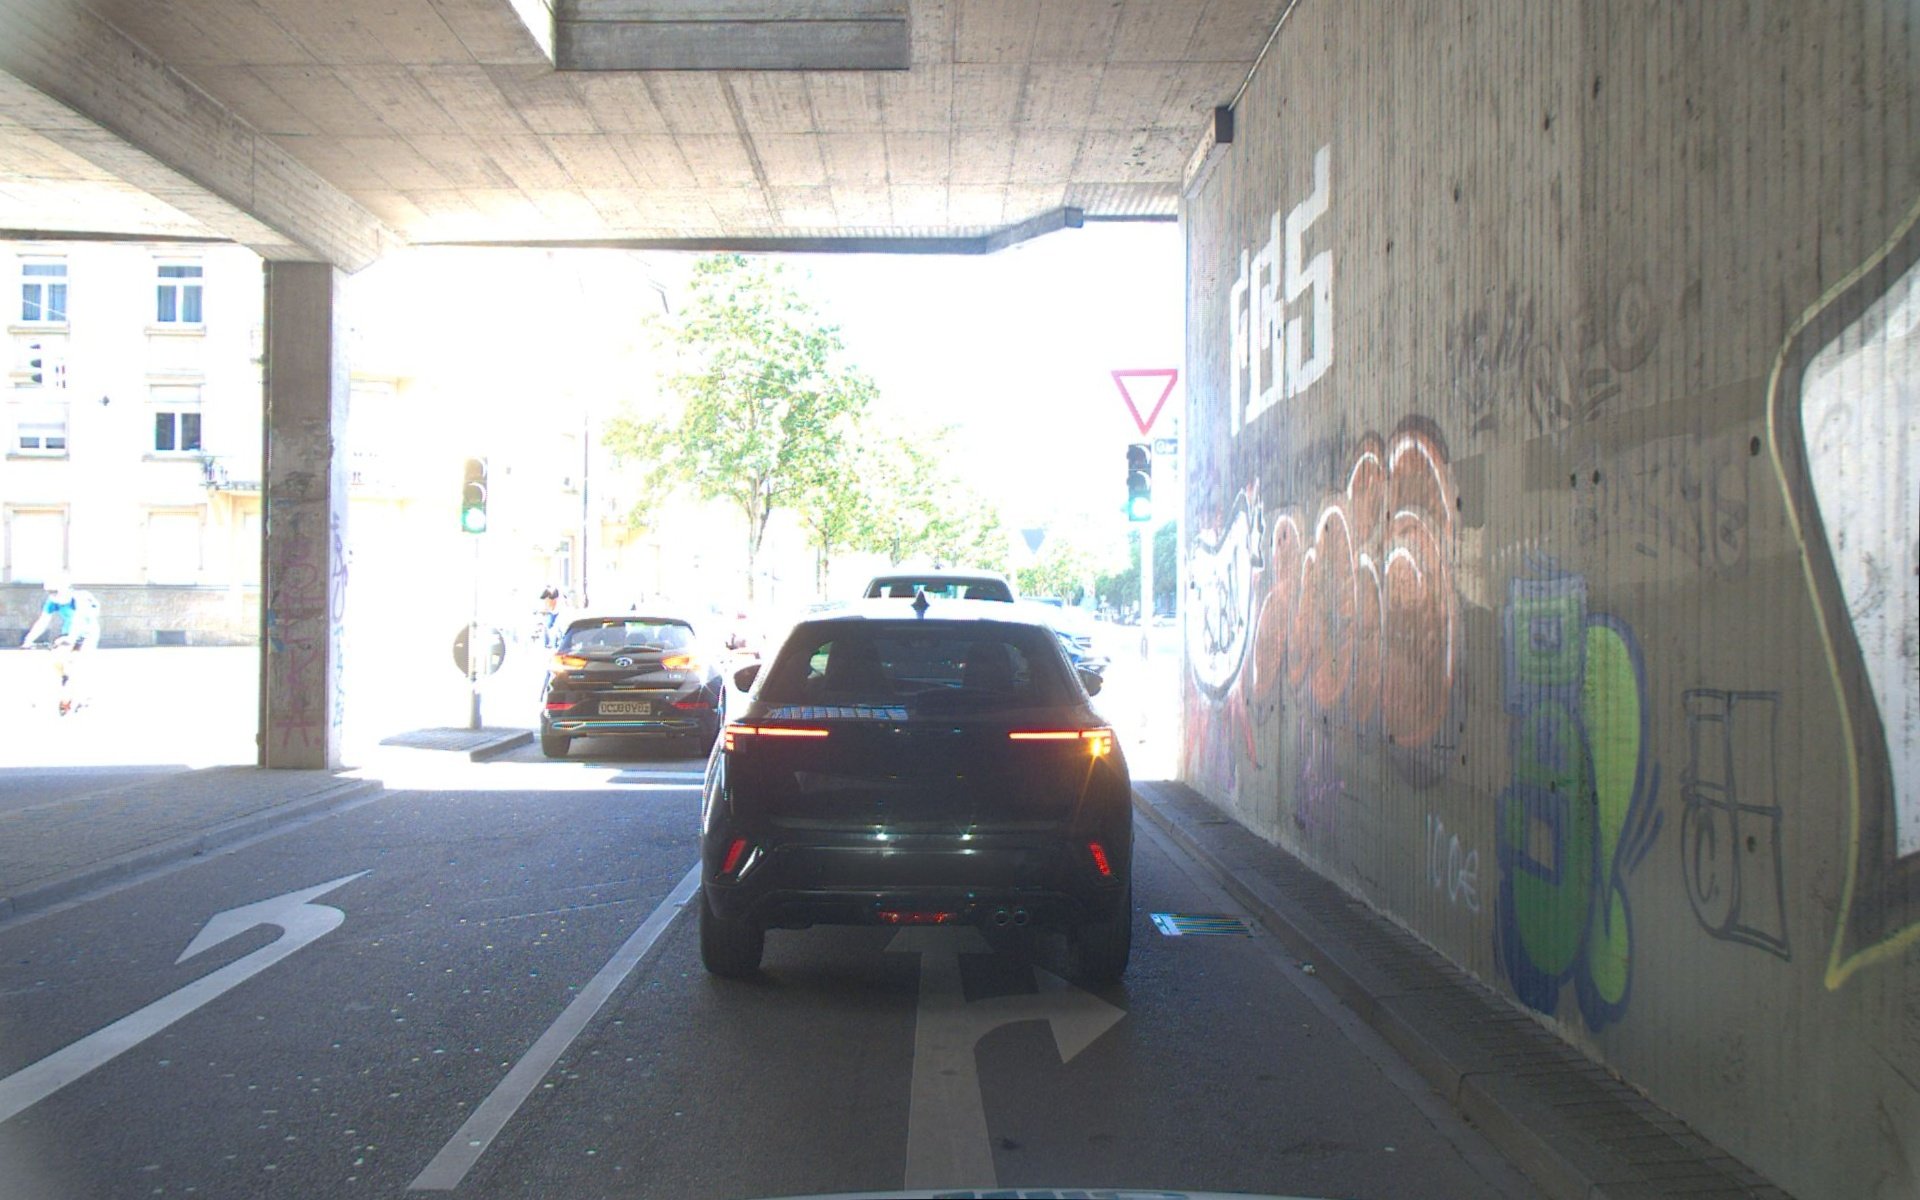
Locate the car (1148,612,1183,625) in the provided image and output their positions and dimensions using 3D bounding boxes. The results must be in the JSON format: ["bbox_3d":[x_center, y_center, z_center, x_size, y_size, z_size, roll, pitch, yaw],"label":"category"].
[{"bbox_3d":[23.840,2.152,192.089,3.865,1.421,1.516,-2,-1,1],"label":"car"}]

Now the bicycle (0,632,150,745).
[{"bbox_3d":[-9.941,0.958,18.573,0.683,1.109,1.861,0,2,3],"label":"bicycle"}]

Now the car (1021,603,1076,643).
[{"bbox_3d":[3.671,0.930,67.947,1.668,1.539,3.866,-2,-1,11],"label":"car"}]

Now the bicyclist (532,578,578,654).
[{"bbox_3d":[-9.145,0.357,37.388,0.766,1.689,1.031,0,0,1],"label":"bicyclist"}]

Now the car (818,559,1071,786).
[{"bbox_3d":[-0.290,0.602,16.121,2.091,1.868,4.936,0,0,-4],"label":"car"}]

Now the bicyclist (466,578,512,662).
[{"bbox_3d":[-9.420,0.391,33.086,0.593,1.661,0.910,0,0,5],"label":"bicyclist"}]

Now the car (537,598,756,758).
[{"bbox_3d":[-3.191,0.725,17.619,1.765,1.476,4.323,0,0,-4],"label":"car"}]

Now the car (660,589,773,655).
[{"bbox_3d":[-5.645,0.491,38.677,1.622,1.466,3.466,0,0,9],"label":"car"}]

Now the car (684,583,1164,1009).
[{"bbox_3d":[-0.138,0.726,7.960,1.745,1.544,3.755,1,0,0],"label":"car"}]

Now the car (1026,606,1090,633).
[{"bbox_3d":[7.808,1.520,131.874,4.821,2.120,1.970,0,-1,-25],"label":"car"}]

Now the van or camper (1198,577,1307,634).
[{"bbox_3d":[16.673,0.327,94.482,5.949,2.980,2.577,-2,-1,9],"label":"van or camper"}]

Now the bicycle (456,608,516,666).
[{"bbox_3d":[-9.423,0.723,32.938,0.514,1.109,1.861,0,0,5],"label":"bicycle"}]

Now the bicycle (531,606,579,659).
[{"bbox_3d":[-9.142,0.723,37.359,0.530,1.142,2.059,0,0,1],"label":"bicycle"}]

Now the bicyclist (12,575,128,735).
[{"bbox_3d":[-9.957,0.592,18.539,0.730,1.741,0.967,0,1,2],"label":"bicyclist"}]

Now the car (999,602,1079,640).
[{"bbox_3d":[5.479,1.445,114.350,5.174,2.590,1.977,0,-1,-15],"label":"car"}]
